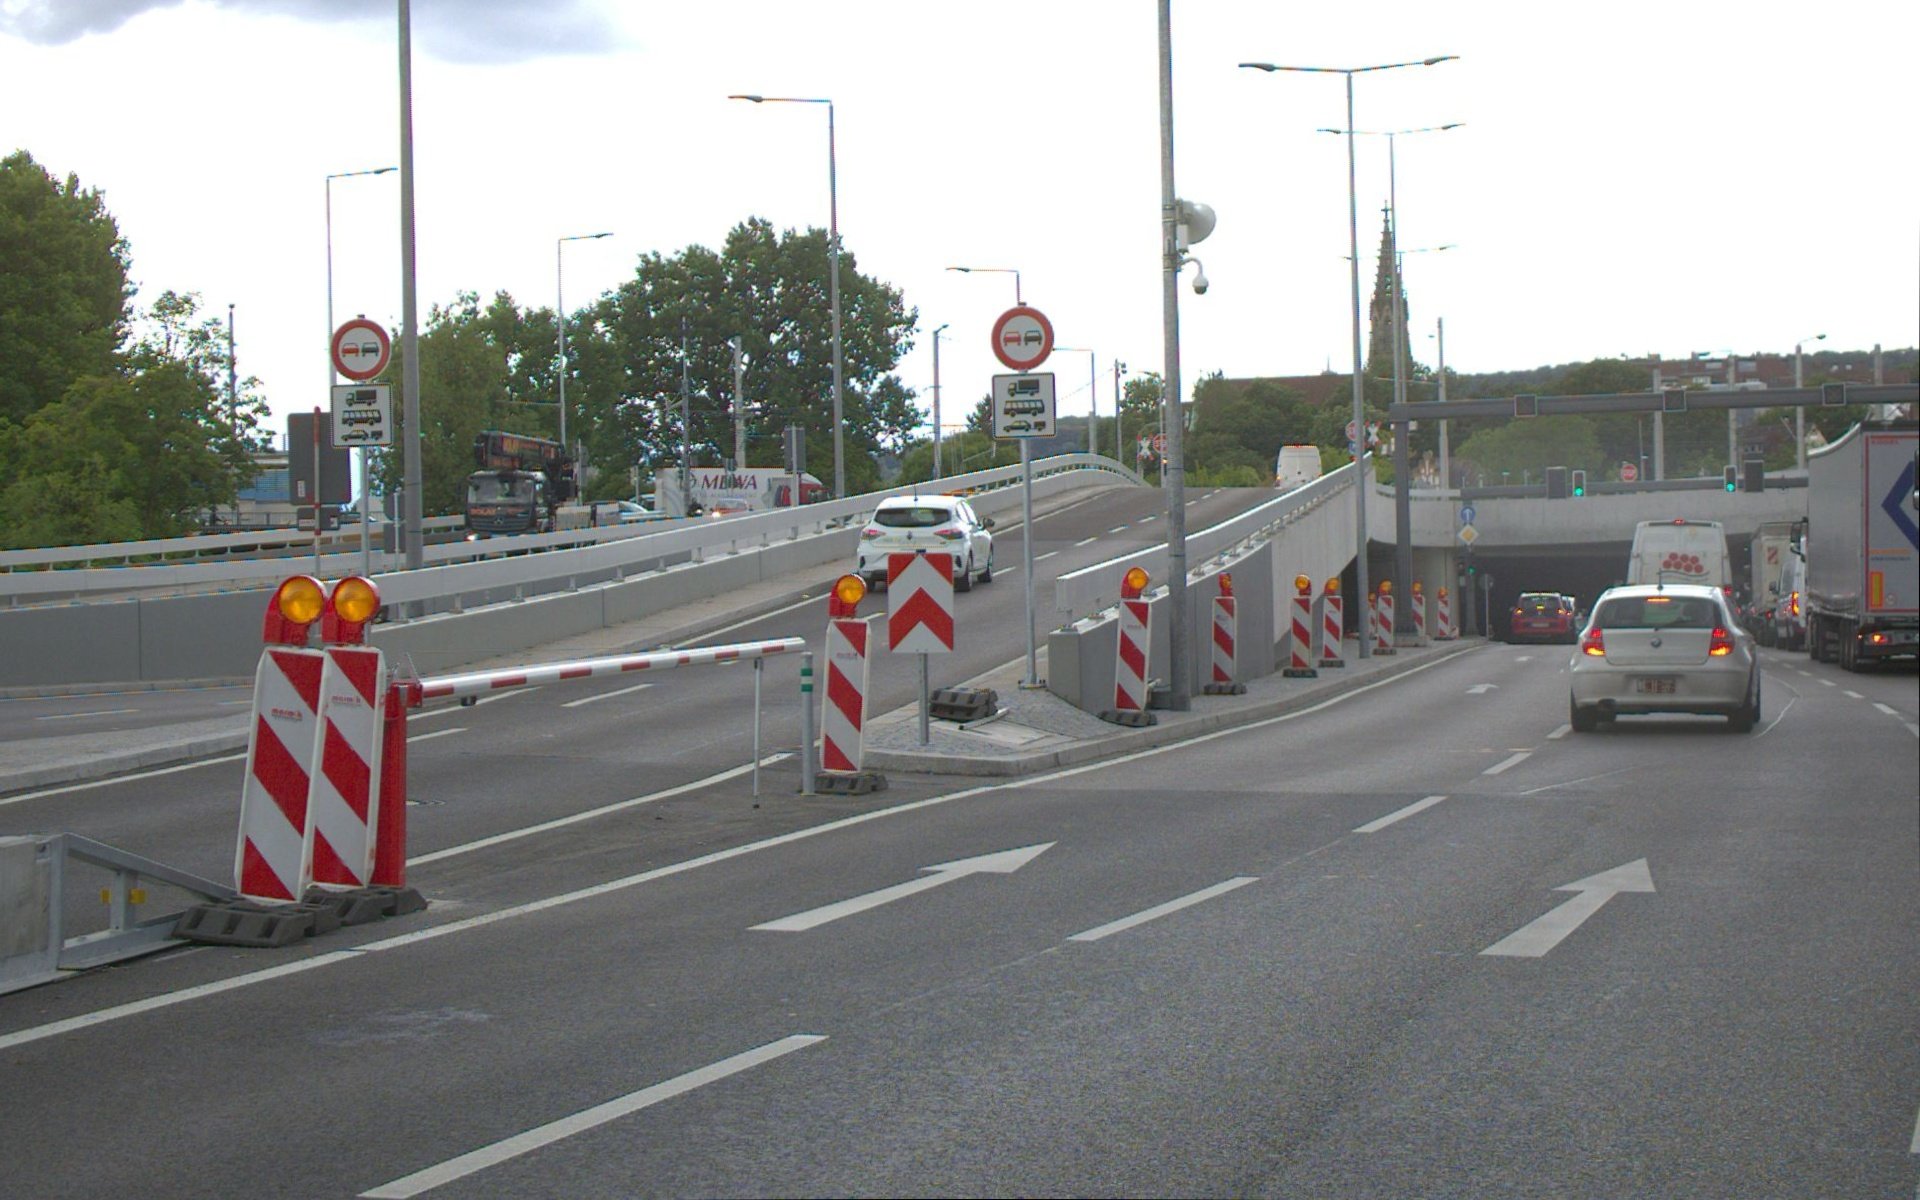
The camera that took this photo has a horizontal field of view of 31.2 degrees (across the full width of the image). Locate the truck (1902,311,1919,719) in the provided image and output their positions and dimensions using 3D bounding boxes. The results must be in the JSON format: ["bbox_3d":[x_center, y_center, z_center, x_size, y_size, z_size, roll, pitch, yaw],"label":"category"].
[{"bbox_3d":[10.972,-0.855,31.869,3.726,4.127,10.977,1,0,12],"label":"truck"}]

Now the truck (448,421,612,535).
[{"bbox_3d":[-13.525,-3.941,109.006,2.733,3.378,10.618,2,3,6],"label":"truck"}]

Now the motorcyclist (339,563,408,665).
[{"bbox_3d":[-9.310,0.226,54.570,0.665,1.600,1.102,1,0,14],"label":"motorcyclist"}]

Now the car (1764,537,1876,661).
[{"bbox_3d":[20.206,-0.051,81.040,2.076,2.764,7.323,1,0,11],"label":"car"}]

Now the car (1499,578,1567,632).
[{"bbox_3d":[16.971,0.168,101.978,1.660,1.483,3.566,-1,-2,4],"label":"car"}]

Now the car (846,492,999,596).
[{"bbox_3d":[-0.542,-0.835,53.001,1.744,1.428,3.774,3,0,8],"label":"car"}]

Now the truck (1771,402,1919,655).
[{"bbox_3d":[17.854,-1.312,66.431,3.806,4.616,7.439,1,0,10],"label":"truck"}]

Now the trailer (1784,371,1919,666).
[{"bbox_3d":[16.594,-1.288,59.558,3.806,4.616,12.108,1,0,10],"label":"trailer"}]

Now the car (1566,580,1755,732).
[{"bbox_3d":[7.079,0.527,34.534,1.717,1.393,4.345,1,0,13],"label":"car"}]

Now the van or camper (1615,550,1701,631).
[{"bbox_3d":[17.657,-0.207,87.138,1.994,1.839,5.505,0,-2,10],"label":"van or camper"}]

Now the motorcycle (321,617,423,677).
[{"bbox_3d":[-9.316,0.740,54.552,0.665,0.914,2.393,1,0,14],"label":"motorcycle"}]

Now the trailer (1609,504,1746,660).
[{"bbox_3d":[12.945,-0.300,62.277,2.104,2.630,4.808,3,0,9],"label":"trailer"}]

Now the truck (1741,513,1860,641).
[{"bbox_3d":[22.063,-0.536,90.476,2.651,3.174,7.422,-1,-1,11],"label":"truck"}]

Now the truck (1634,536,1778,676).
[{"bbox_3d":[11.632,0.100,53.813,1.994,2.024,3.831,3,0,11],"label":"truck"}]

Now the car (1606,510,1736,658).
[{"bbox_3d":[13.599,-0.269,66.028,2.059,2.619,5.940,3,0,9],"label":"car"}]
